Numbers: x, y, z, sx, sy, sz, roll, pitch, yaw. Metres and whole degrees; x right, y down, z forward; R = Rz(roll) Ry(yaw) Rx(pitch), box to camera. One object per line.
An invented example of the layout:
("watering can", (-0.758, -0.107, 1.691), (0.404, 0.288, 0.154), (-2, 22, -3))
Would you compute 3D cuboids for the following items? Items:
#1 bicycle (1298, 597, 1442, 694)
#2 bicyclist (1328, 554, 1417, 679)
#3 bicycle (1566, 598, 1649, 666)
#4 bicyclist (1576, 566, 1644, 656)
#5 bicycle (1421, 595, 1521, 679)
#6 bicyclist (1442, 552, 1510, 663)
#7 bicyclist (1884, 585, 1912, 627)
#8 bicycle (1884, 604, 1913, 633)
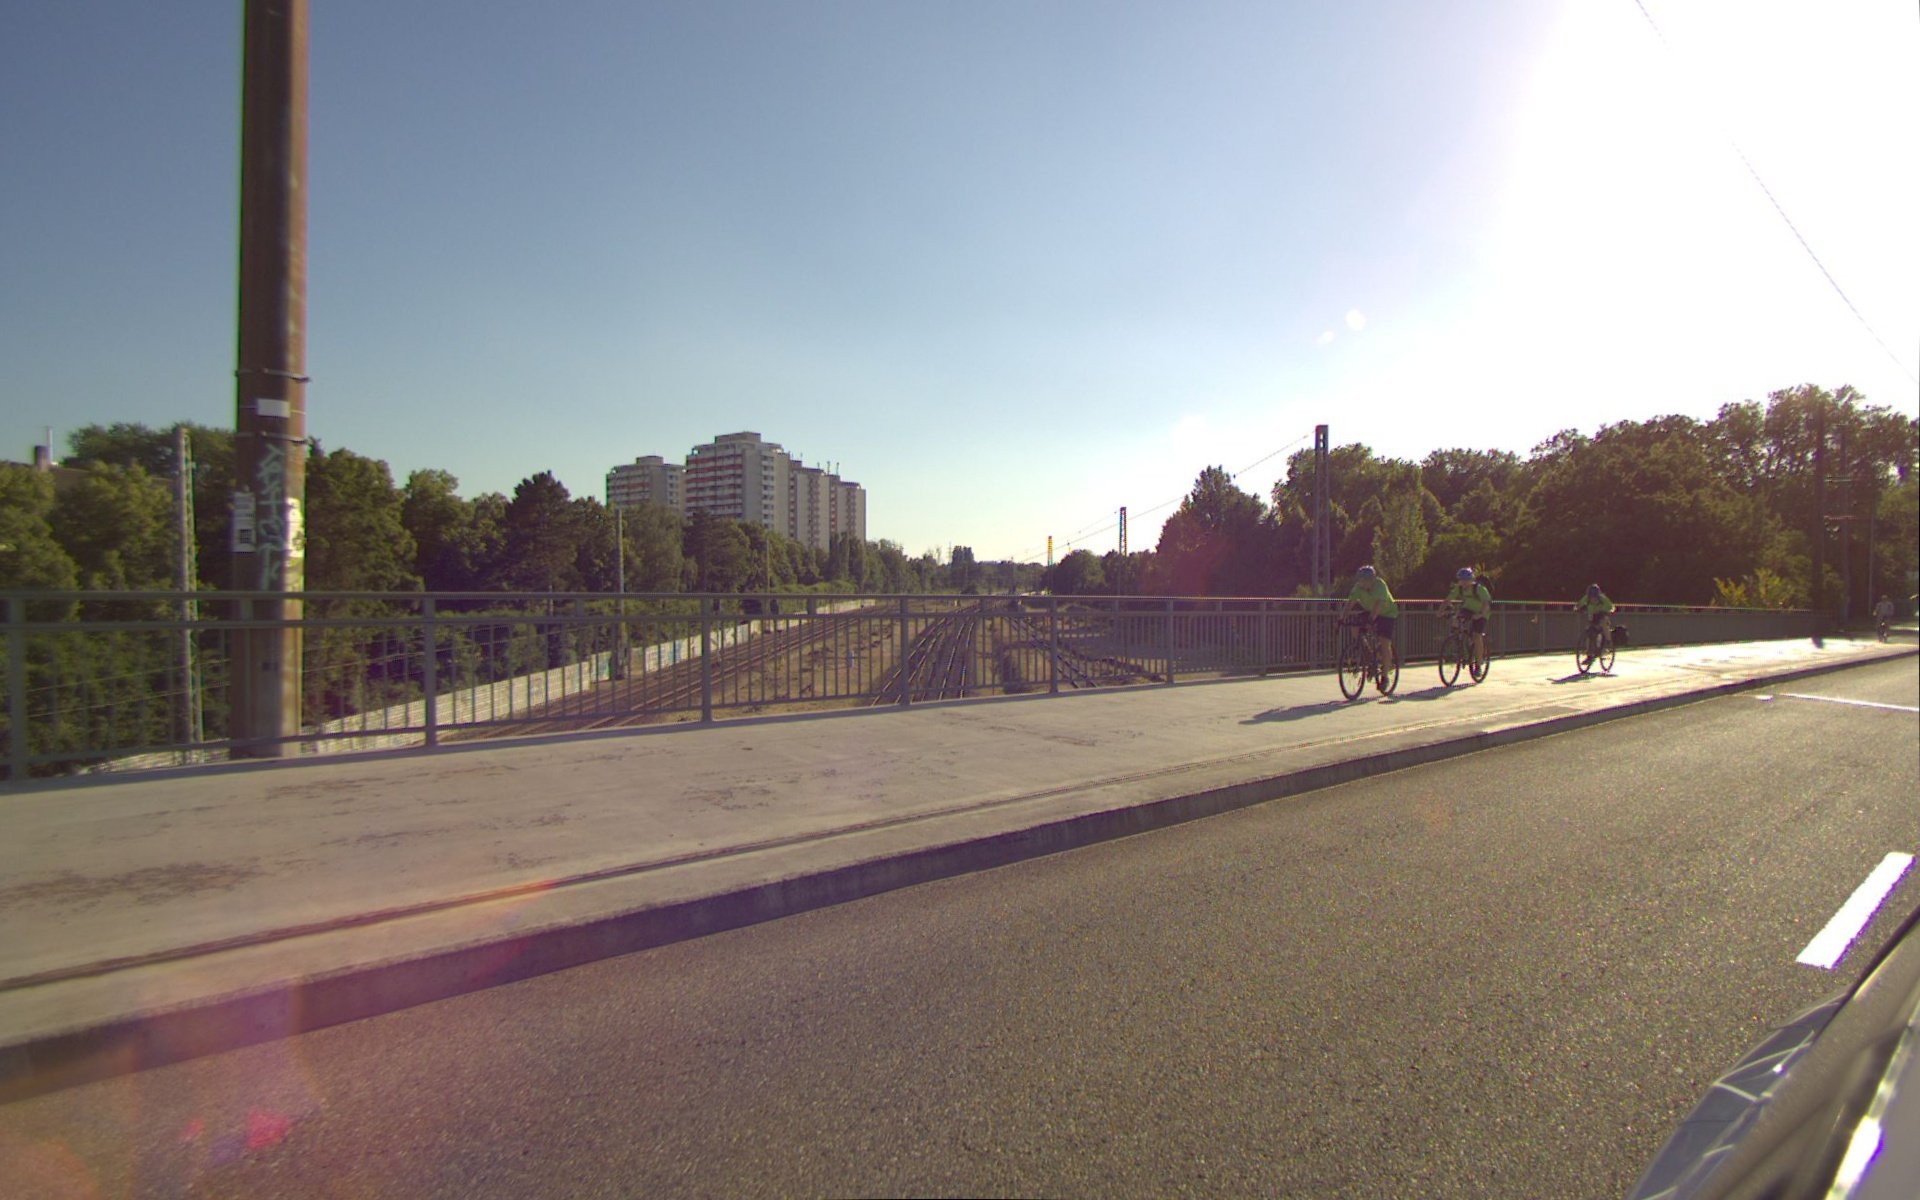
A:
("bicycle", (5.249, 0.536, 12.892), (2.217, 1.136, 0.627), (0, 1, -36))
("bicyclist", (5.260, 0.194, 12.905), (0.987, 1.527, 0.627), (0, 0, -36))
("bicycle", (11.702, 0.552, 18.255), (2.177, 1.137, 0.684), (1, 0, -41))
("bicyclist", (11.726, 0.189, 18.262), (0.881, 1.582, 0.813), (1, 0, -41))
("bicycle", (7.637, 0.512, 15.081), (2.006, 1.136, 0.626), (-1, 1, -41))
("bicyclist", (7.778, 0.094, 15.253), (0.915, 1.612, 0.626), (-1, 1, -41))
("bicyclist", (38.575, 0.240, 41.633), (1.182, 1.711, 0.731), (0, -2, -44))
("bicycle", (38.578, 0.740, 41.594), (2.697, 1.137, 0.731), (-1, -1, -44))
